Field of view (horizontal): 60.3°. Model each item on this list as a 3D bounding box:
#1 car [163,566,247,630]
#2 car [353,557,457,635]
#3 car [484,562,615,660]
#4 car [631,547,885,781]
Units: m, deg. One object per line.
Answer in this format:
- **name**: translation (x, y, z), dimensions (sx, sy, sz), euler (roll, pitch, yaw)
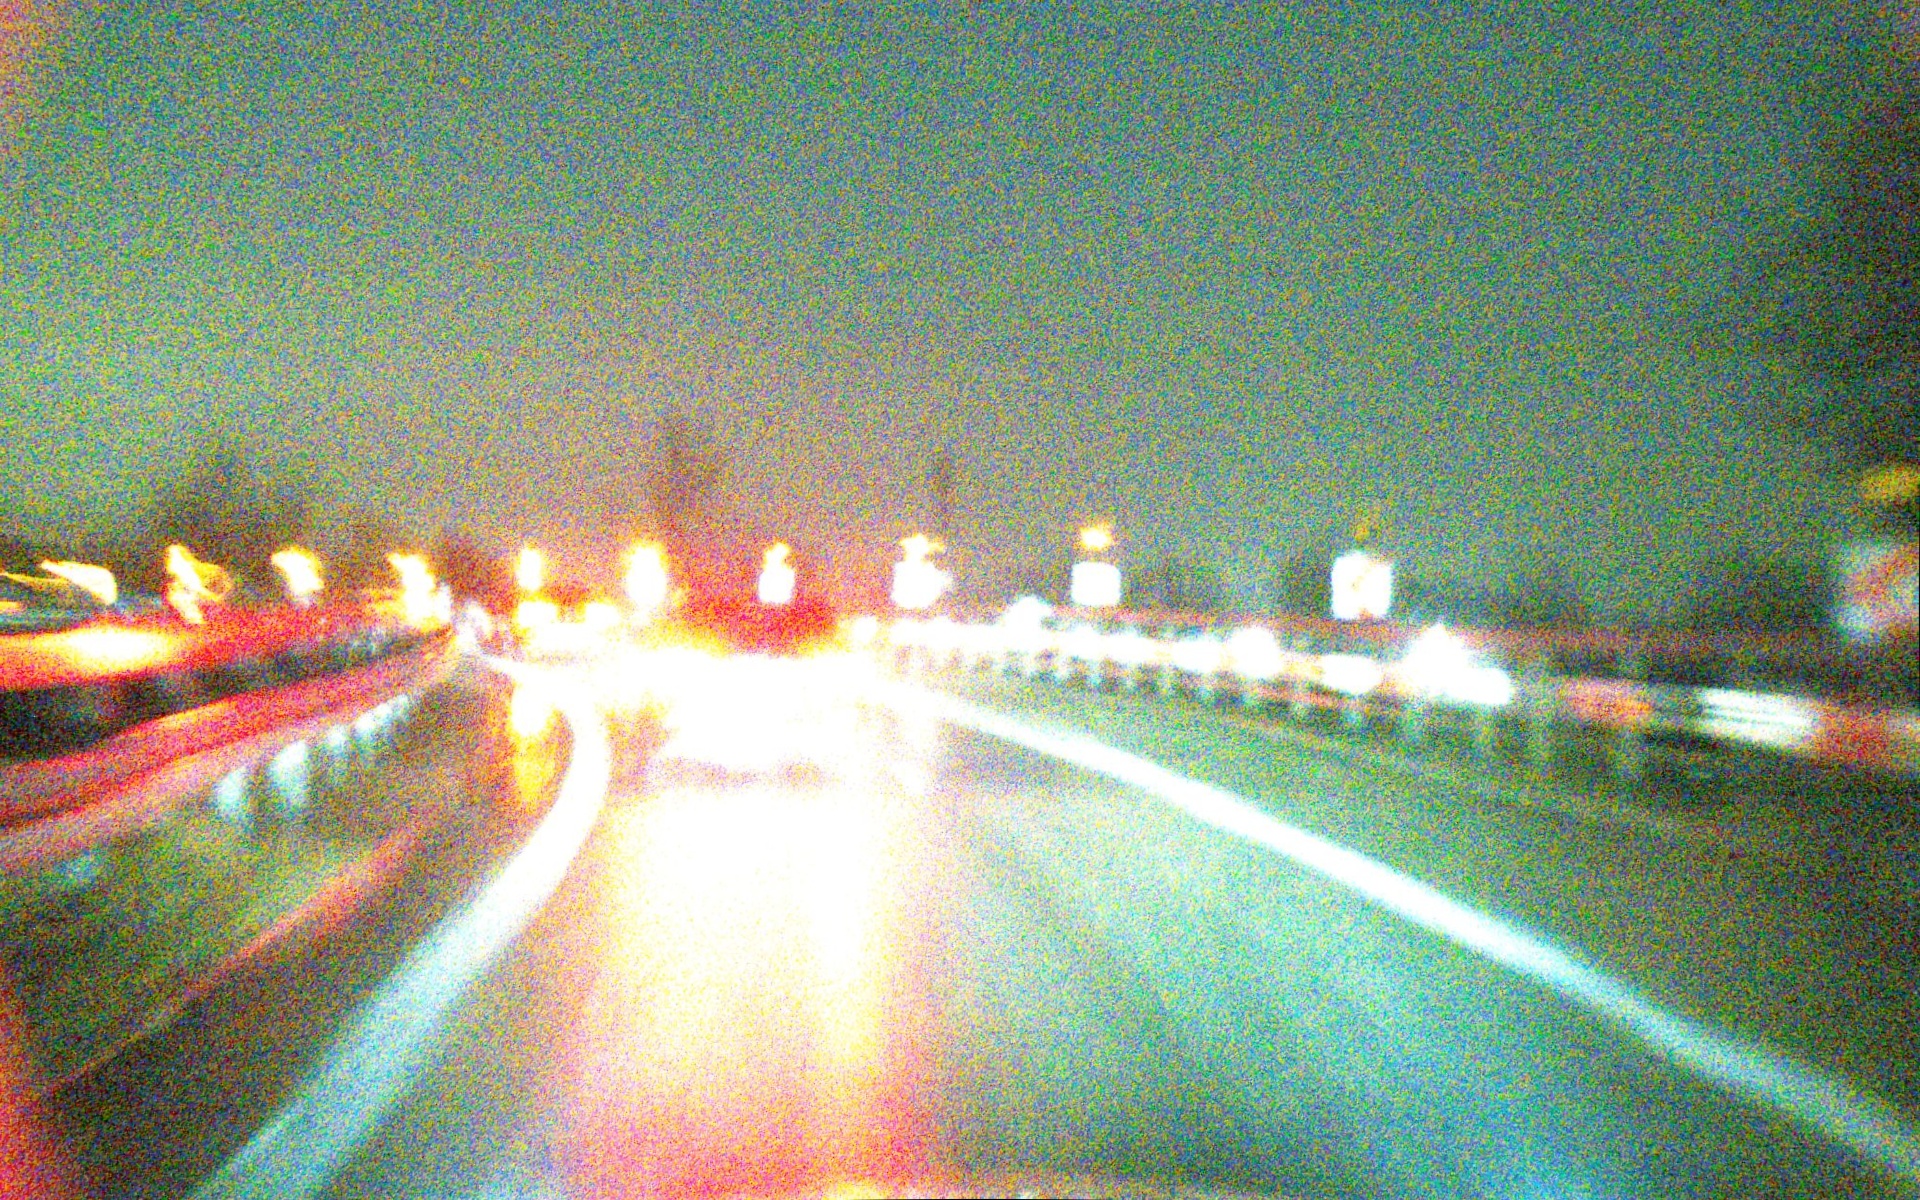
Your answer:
- **car**: translation (-25.443, -0.084, 55.689), dimensions (1.880, 2.032, 3.996), euler (-1, 1, -35)
- **car**: translation (-15.552, -0.120, 46.244), dimensions (1.878, 2.076, 4.000), euler (0, 0, -33)
- **car**: translation (-7.919, 0.173, 31.677), dimensions (1.869, 1.750, 4.018), euler (0, 1, -22)
- **car**: translation (-1.809, 0.446, 14.050), dimensions (1.827, 1.676, 4.059), euler (-1, 0, -10)
